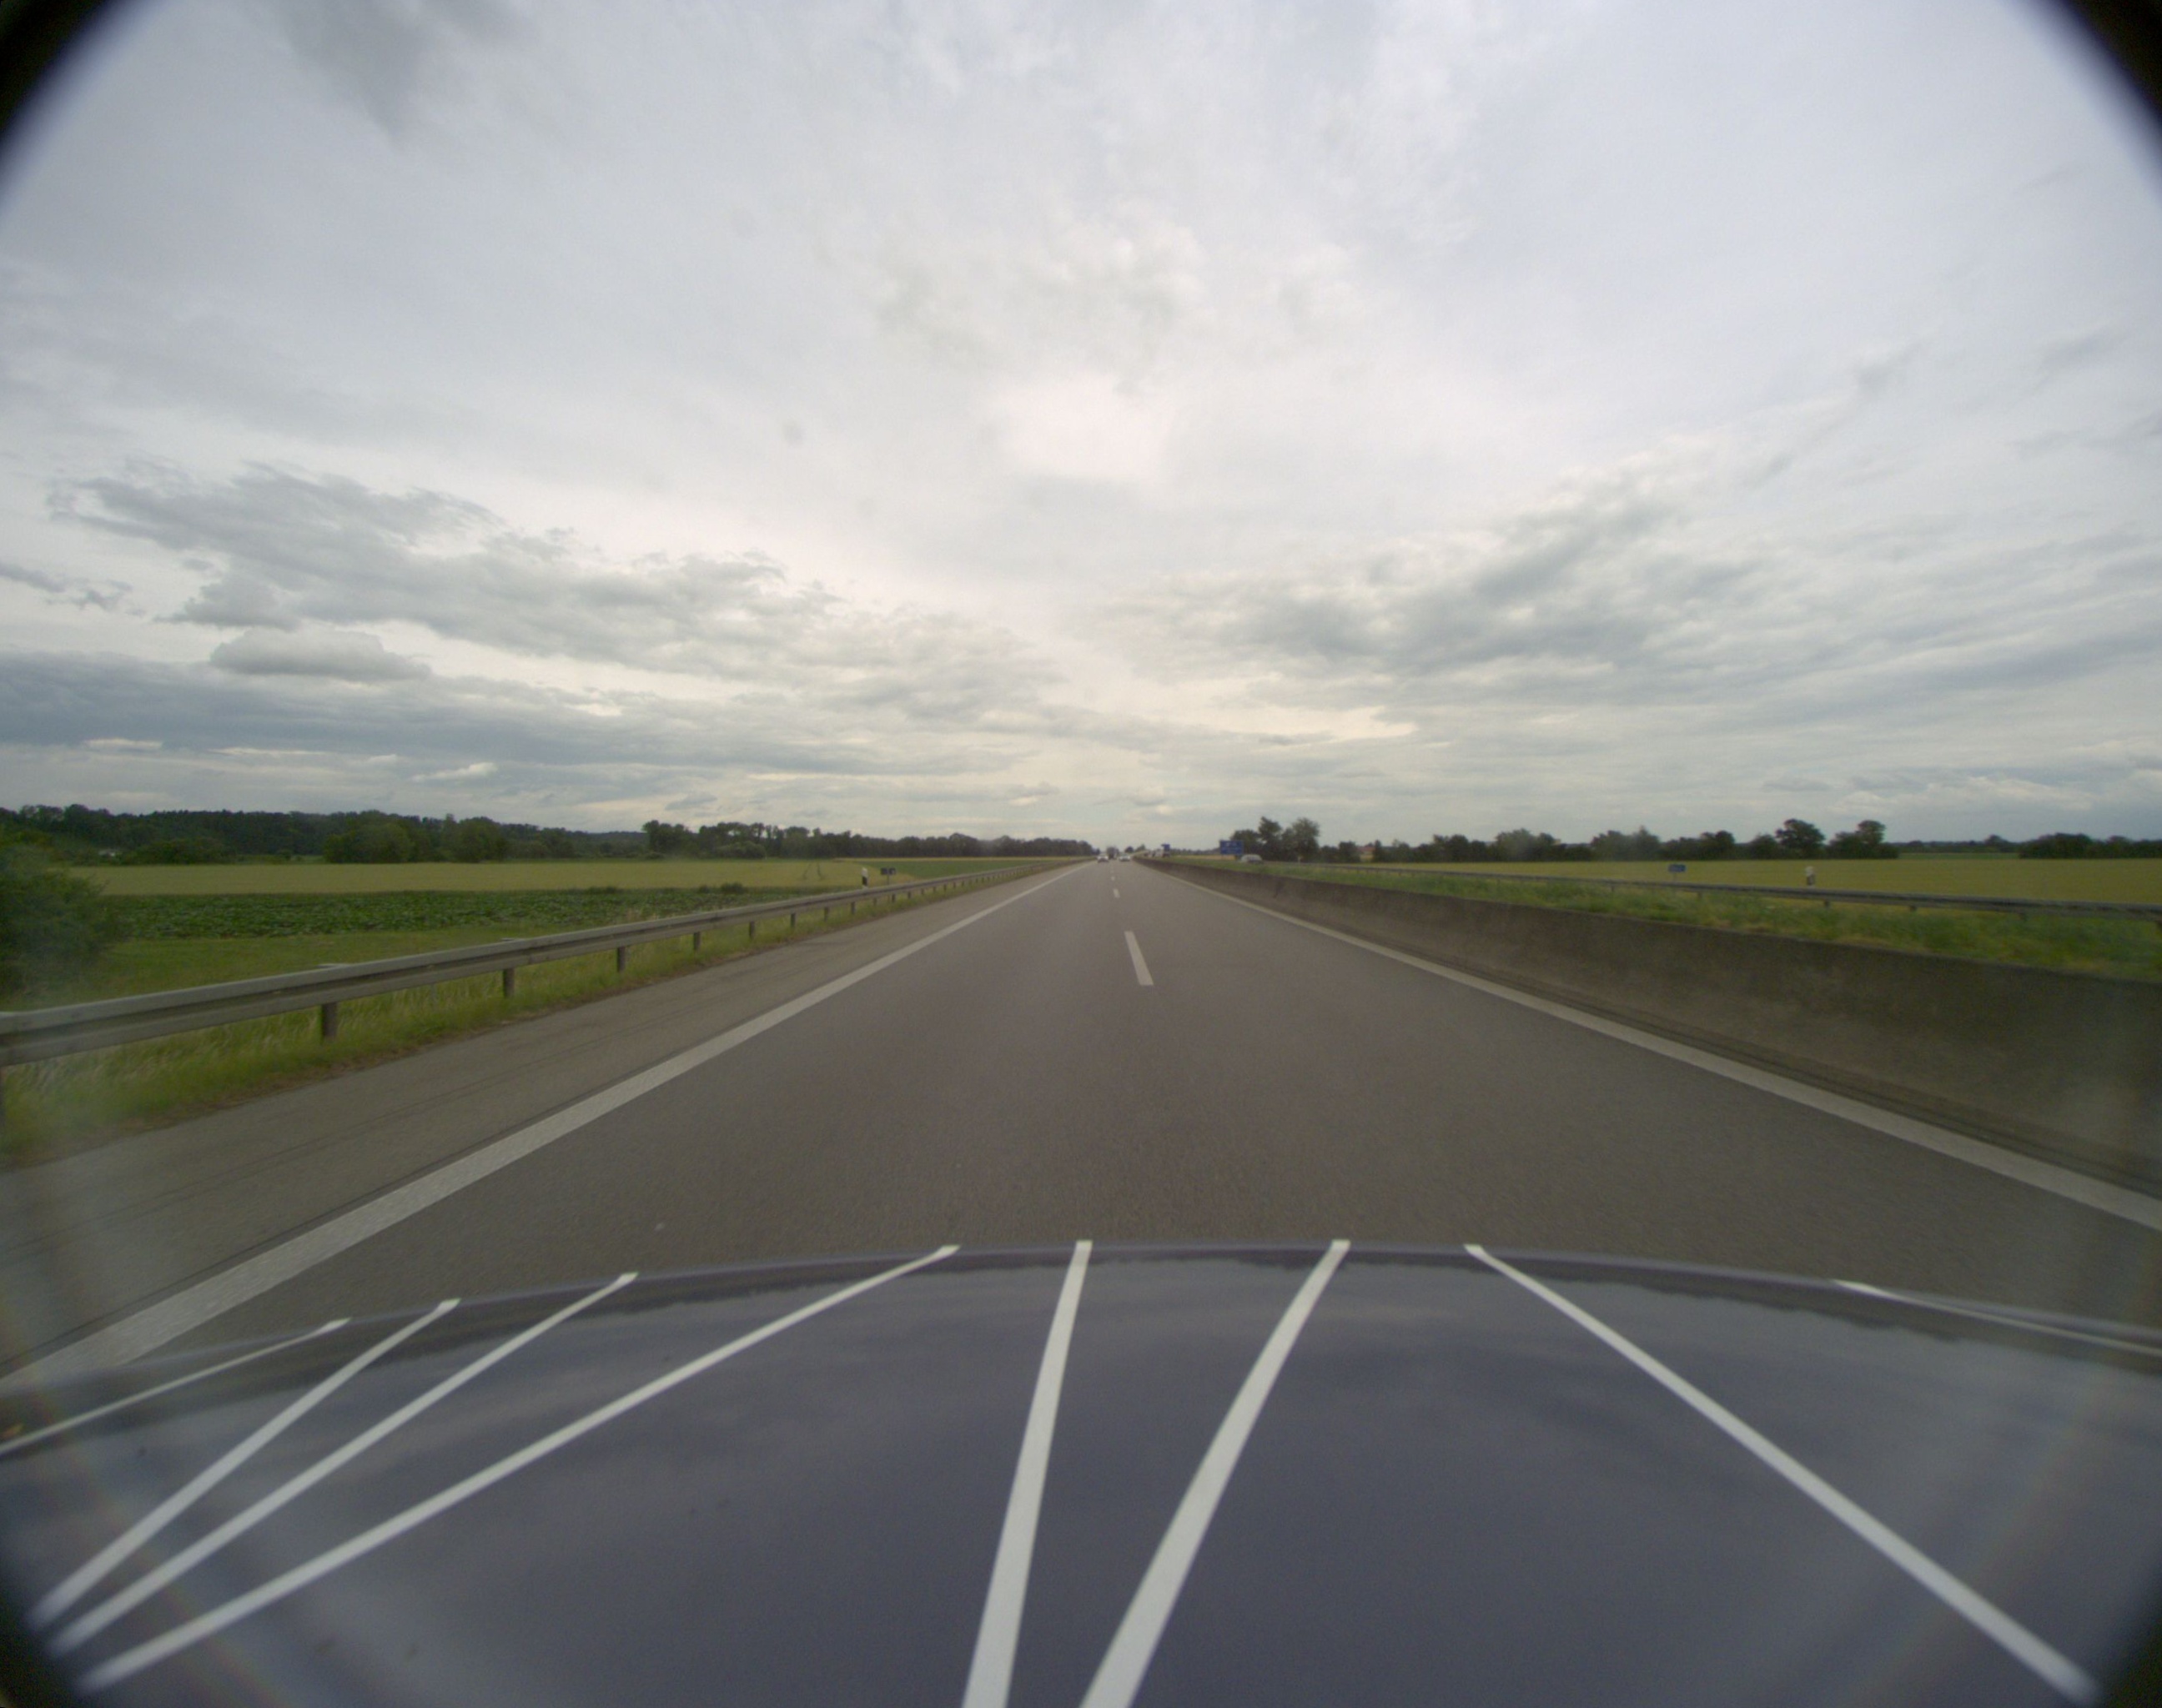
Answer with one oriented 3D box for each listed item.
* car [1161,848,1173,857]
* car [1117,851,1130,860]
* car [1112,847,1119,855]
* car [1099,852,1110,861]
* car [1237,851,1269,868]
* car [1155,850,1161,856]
[{"bbox_3d":[14.878,-0.307,131.537,1.693,1.483,4.183,-1,0,1],"label":"car"},{"bbox_3d":[8.098,0.293,145.173,1.917,1.553,4.286,-1,1,-4],"label":"car"},{"bbox_3d":[9.611,-0.917,213.855,1.915,2.248,5.314,-1,1,3],"label":"car"},{"bbox_3d":[4.339,0.489,138.290,1.916,1.553,4.287,-1,1,1],"label":"car"},{"bbox_3d":[15.163,0.457,67.314,1.793,1.463,4.905,1,0,1],"label":"car"},{"bbox_3d":[27.009,-0.365,266.512,2.035,2.097,4.906,-1,0,4],"label":"car"}]
